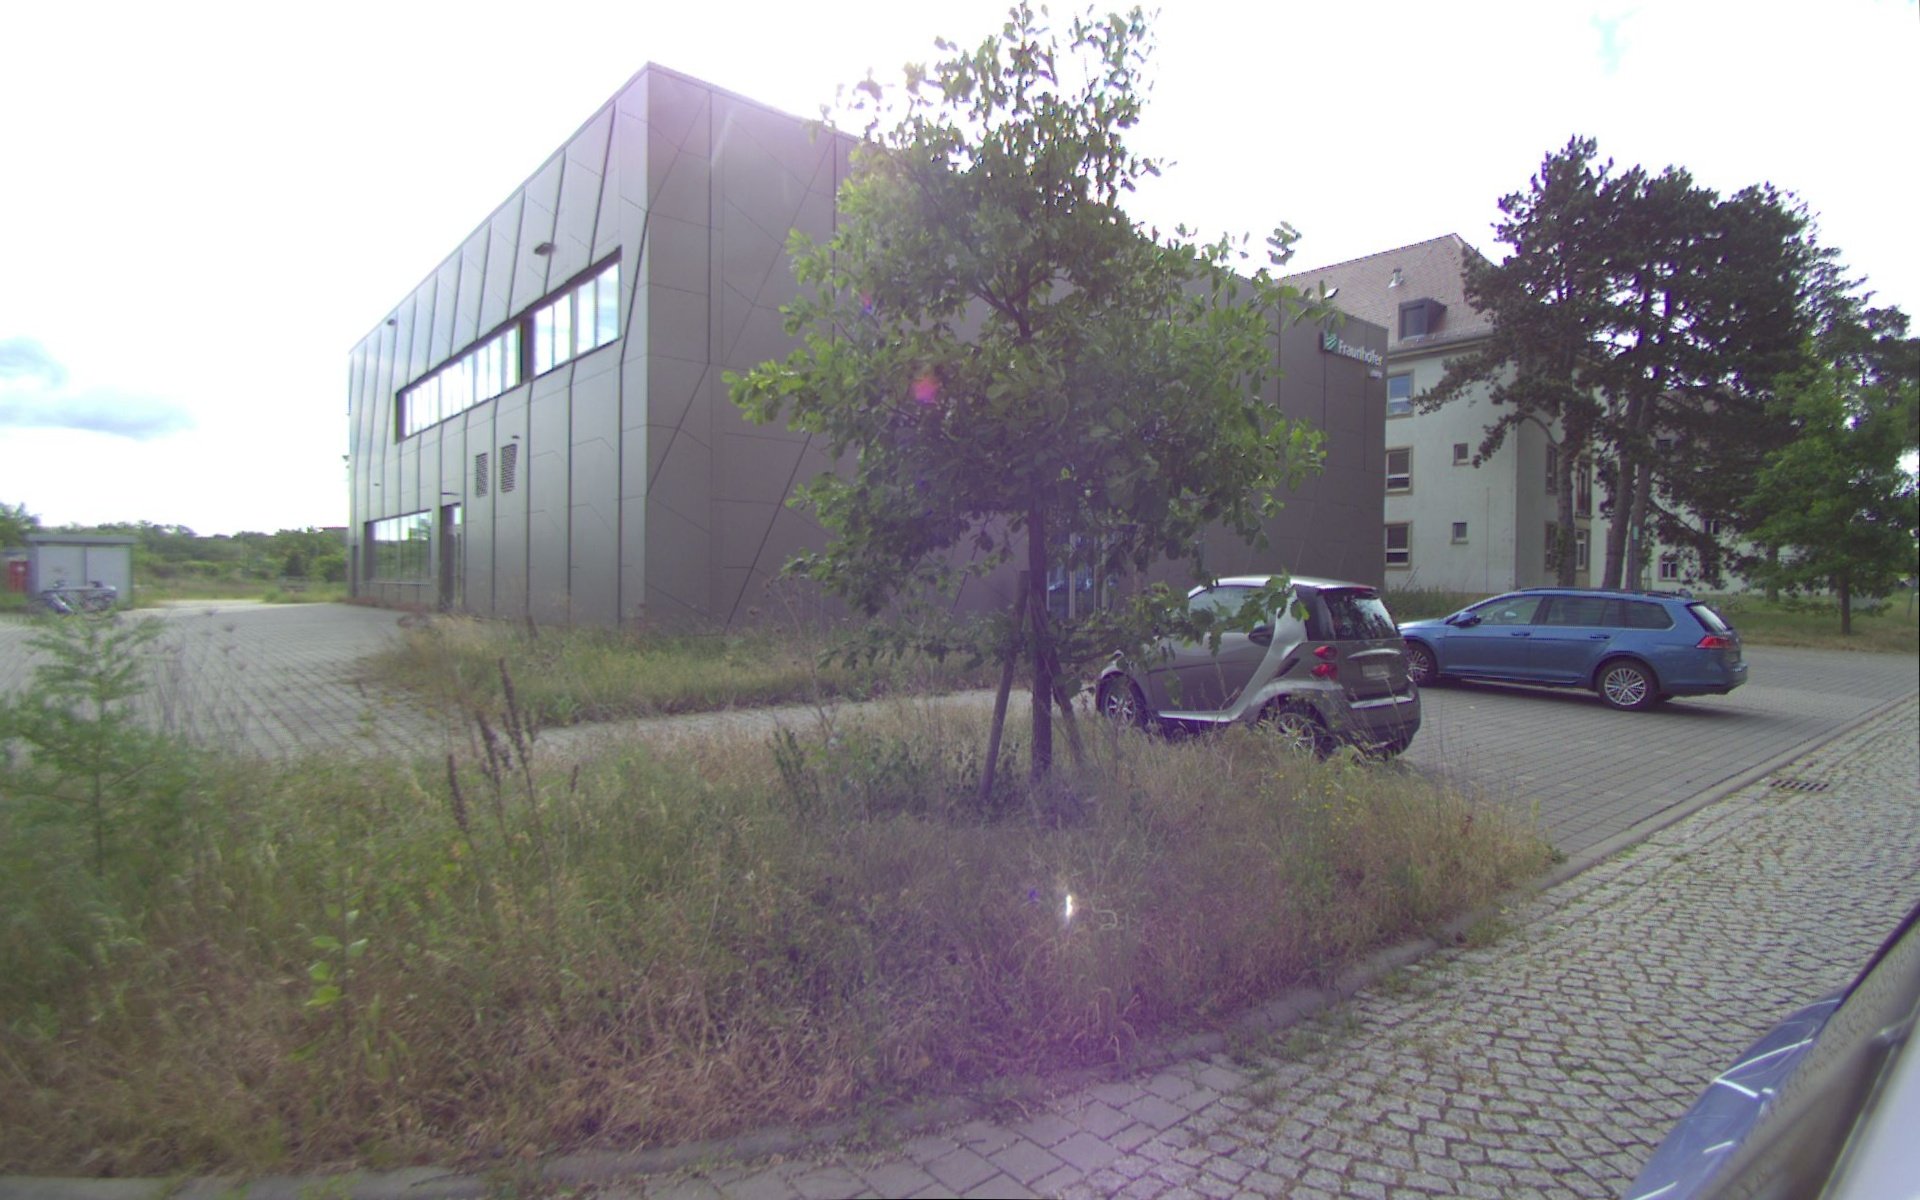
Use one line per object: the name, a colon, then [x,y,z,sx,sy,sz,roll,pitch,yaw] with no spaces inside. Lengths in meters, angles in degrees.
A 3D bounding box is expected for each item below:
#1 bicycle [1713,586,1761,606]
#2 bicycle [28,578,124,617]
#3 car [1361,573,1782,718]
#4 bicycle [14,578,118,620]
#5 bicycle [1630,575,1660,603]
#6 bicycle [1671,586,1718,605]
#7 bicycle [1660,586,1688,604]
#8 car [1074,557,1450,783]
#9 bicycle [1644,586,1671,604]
bicycle: [45.119,-0.252,58.779,0.705,1.108,2.161,0,1,-43]
bicycle: [-24.559,-0.078,28.172,1.953,1.038,0.836,-1,2,-38]
car: [8.141,0.464,13.835,1.899,1.467,4.533,0,4,-42]
bicycle: [-23.318,-0.045,26.451,1.953,1.038,0.836,-1,2,-38]
bicycle: [43.034,-0.680,63.560,2.159,1.753,0.905,-1,1,-38]
bicycle: [43.832,-0.263,60.419,0.705,1.070,2.161,0,1,-43]
bicycle: [43.805,-0.306,62.103,2.126,1.070,0.800,-1,1,-38]
car: [2.613,0.472,9.093,1.653,1.601,2.748,0,3,-40]
bicycle: [43.269,-0.320,62.762,2.159,1.070,0.800,-1,1,-38]
